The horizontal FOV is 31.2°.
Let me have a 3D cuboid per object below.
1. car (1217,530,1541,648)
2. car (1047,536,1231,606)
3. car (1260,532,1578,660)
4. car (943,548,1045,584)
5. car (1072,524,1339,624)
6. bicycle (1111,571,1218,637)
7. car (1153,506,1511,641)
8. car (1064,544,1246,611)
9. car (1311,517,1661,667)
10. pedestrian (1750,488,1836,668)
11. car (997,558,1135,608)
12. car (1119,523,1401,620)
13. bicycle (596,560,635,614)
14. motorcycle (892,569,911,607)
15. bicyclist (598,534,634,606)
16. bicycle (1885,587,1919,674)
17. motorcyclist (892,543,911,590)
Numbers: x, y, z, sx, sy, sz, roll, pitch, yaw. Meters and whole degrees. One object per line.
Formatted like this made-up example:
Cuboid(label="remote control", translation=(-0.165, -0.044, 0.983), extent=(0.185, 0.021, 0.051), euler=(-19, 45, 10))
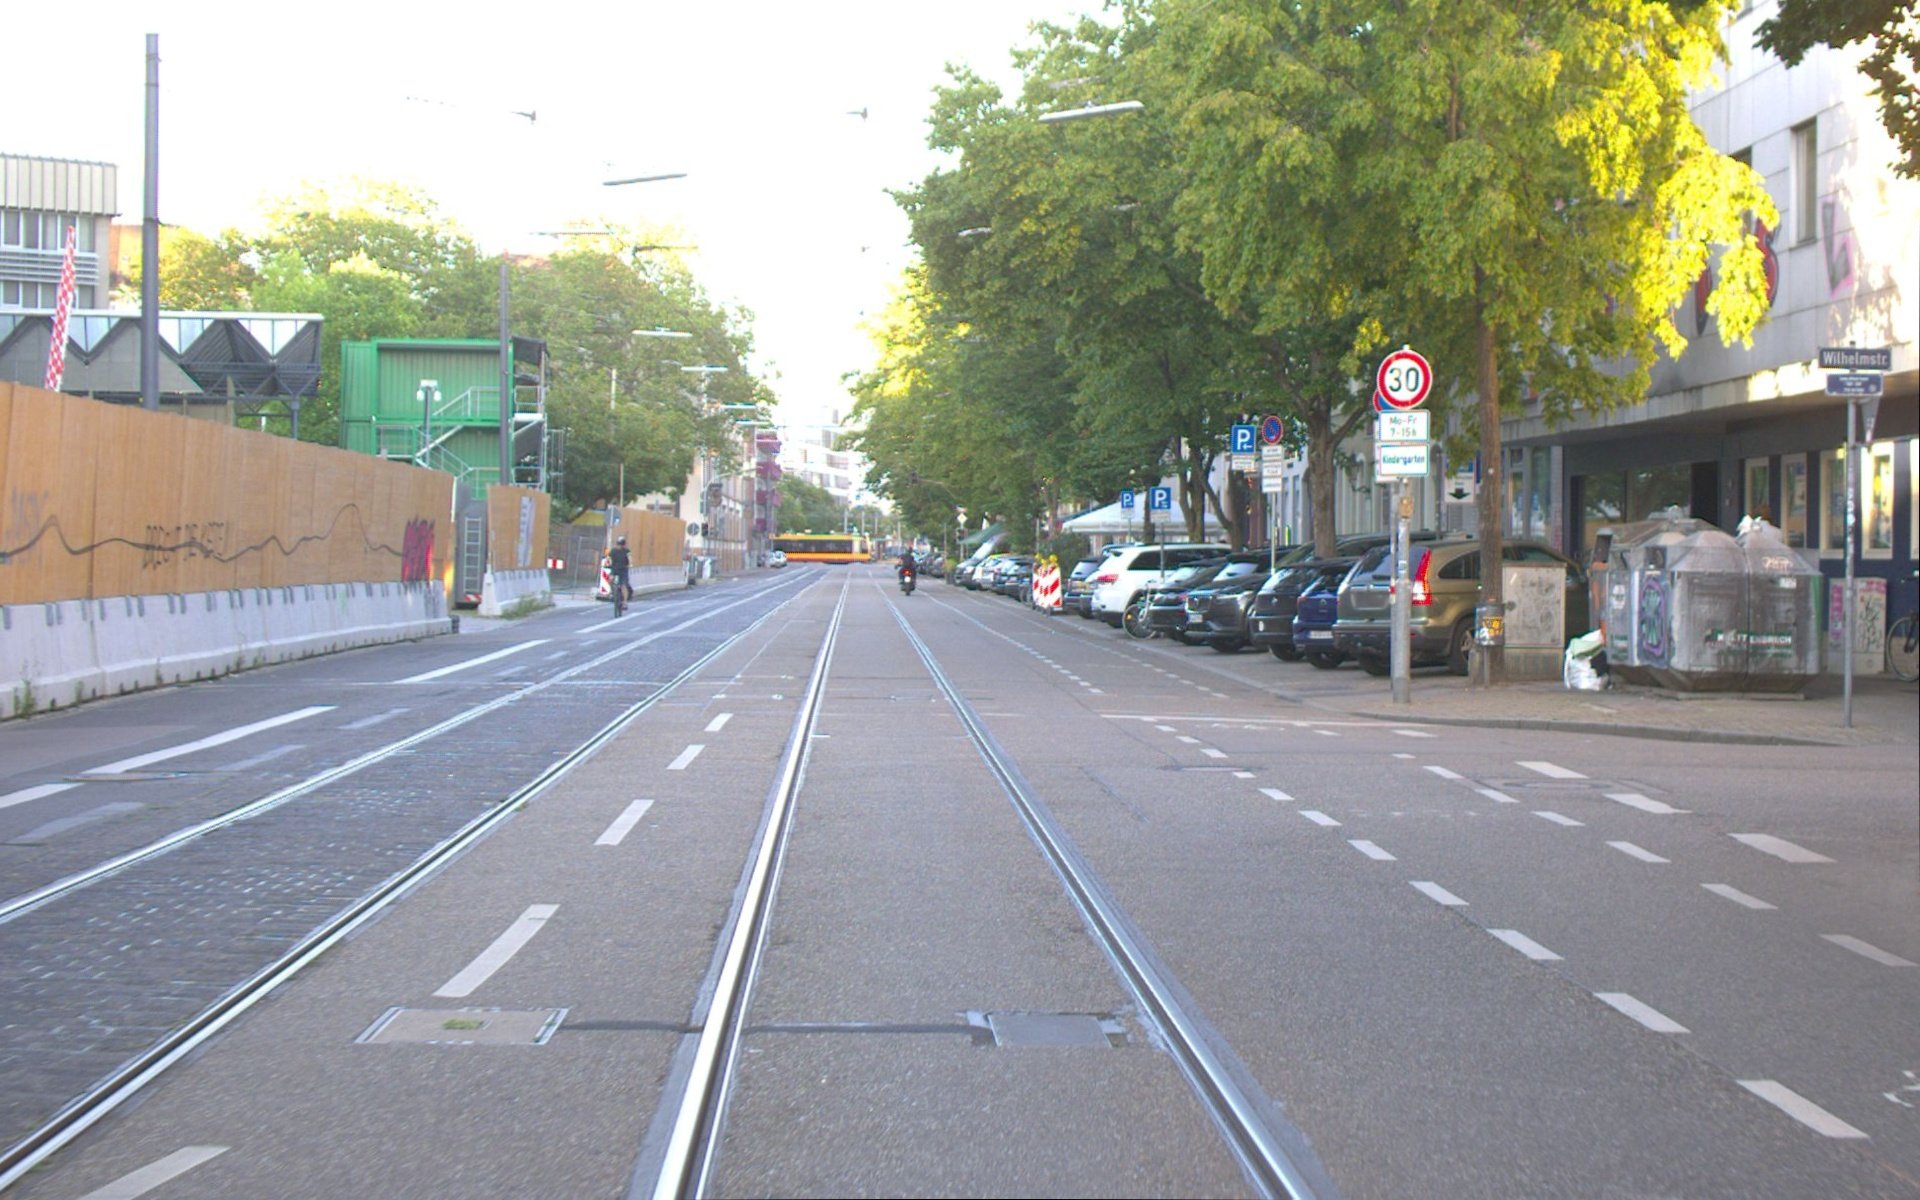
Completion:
Cuboid(label="car", translation=(5.962, -0.158, 48.839), extent=(4.154, 1.460, 1.971), euler=(-3, 1, -29))
Cuboid(label="car", translation=(4.233, -0.680, 81.252), extent=(3.961, 1.548, 1.706), euler=(-2, 1, -27))
Cuboid(label="car", translation=(6.143, -0.061, 45.928), extent=(3.882, 1.497, 1.813), euler=(-3, 1, -32))
Cuboid(label="car", translation=(1.464, -1.468, 148.761), extent=(3.950, 1.481, 1.921), euler=(-1, 0, -25))
Cuboid(label="car", translation=(4.582, -0.496, 64.565), extent=(4.648, 1.682, 2.008), euler=(-2, 1, -6))
Cuboid(label="bicycle", translation=(3.719, 0.069, 62.530), extent=(1.835, 1.099, 0.498), euler=(-3, 1, -15))
Cuboid(label="car", translation=(5.731, -0.418, 53.079), extent=(4.962, 1.820, 2.209), euler=(-3, 1, -19))
Cuboid(label="car", translation=(4.466, -0.515, 78.759), extent=(3.772, 1.403, 1.706), euler=(-2, 1, -27))
Cuboid(label="car", translation=(6.590, -0.116, 42.921), extent=(4.155, 1.658, 1.842), euler=(-3, 1, -36))
Cuboid(label="pedestrian", translation=(9.359, -0.249, 38.656), extent=(0.691, 1.978, 0.786), euler=(-2, 1, -2))
Cuboid(label="car", translation=(3.521, -0.567, 114.233), extent=(4.115, 1.465, 1.824), euler=(-3, 1, -20))
Cuboid(label="car", translation=(5.018, -0.476, 57.558), extent=(4.211, 1.422, 1.976), euler=(-3, 1, -23))
Cuboid(label="bicycle", translation=(-8.002, -0.314, 79.833), extent=(0.768, 1.224, 1.936), euler=(0, 1, -2))
Cuboid(label="motorcycle", translation=(-2.111, -0.429, 124.308), extent=(0.645, 1.364, 1.812), euler=(1, 0, -2))
Cuboid(label="bicyclist", translation=(-7.992, -0.698, 79.813), extent=(0.768, 1.660, 1.018), euler=(0, 1, -2))
Cuboid(label="bicycle", translation=(10.064, 0.318, 35.860), extent=(0.340, 0.879, 1.327), euler=(-3, 1, -4))
Cuboid(label="motorcyclist", translation=(-2.118, -1.202, 124.361), extent=(0.645, 1.691, 1.026), euler=(1, 0, -2))
